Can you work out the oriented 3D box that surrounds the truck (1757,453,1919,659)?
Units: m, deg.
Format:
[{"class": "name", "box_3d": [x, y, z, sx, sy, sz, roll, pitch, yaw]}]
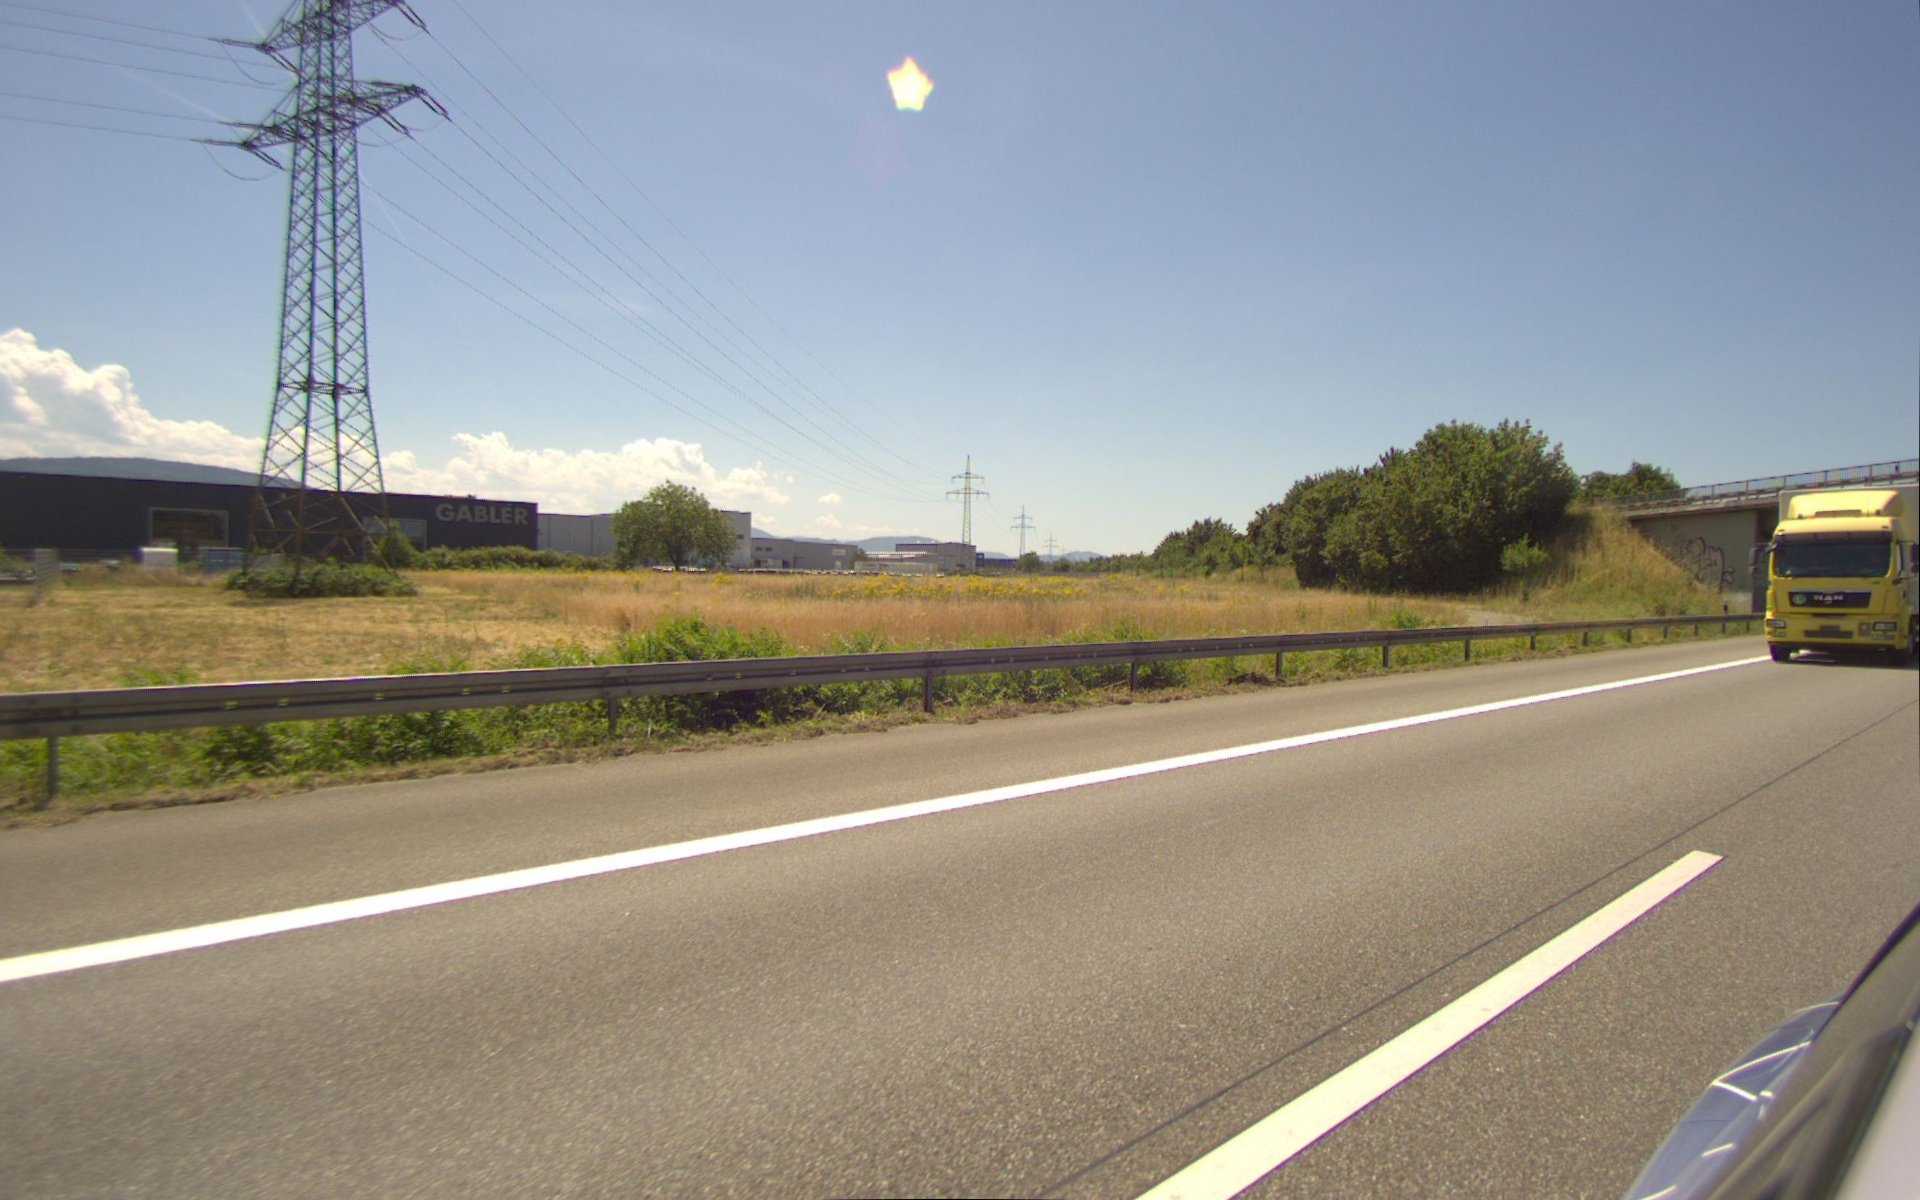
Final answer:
[{"class": "truck", "box_3d": [22.947, -0.923, 25.253, 10.495, 4.253, 2.938, 0, 0, -41]}]

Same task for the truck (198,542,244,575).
[{"class": "truck", "box_3d": [-59.840, -3.370, 81.919, 2.528, 2.477, 6.787, 0, 2, -40]}]

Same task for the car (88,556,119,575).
[{"class": "car", "box_3d": [-65.318, -2.658, 77.166, 1.692, 1.371, 3.662, 0, 2, -43]}]

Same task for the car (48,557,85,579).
[{"class": "car", "box_3d": [-56.608, -2.041, 64.109, 1.692, 1.371, 3.992, 0, 2, -42]}]

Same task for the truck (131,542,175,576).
[{"class": "truck", "box_3d": [-63.198, -3.250, 79.240, 2.528, 2.477, 6.145, 0, 2, -40]}]
